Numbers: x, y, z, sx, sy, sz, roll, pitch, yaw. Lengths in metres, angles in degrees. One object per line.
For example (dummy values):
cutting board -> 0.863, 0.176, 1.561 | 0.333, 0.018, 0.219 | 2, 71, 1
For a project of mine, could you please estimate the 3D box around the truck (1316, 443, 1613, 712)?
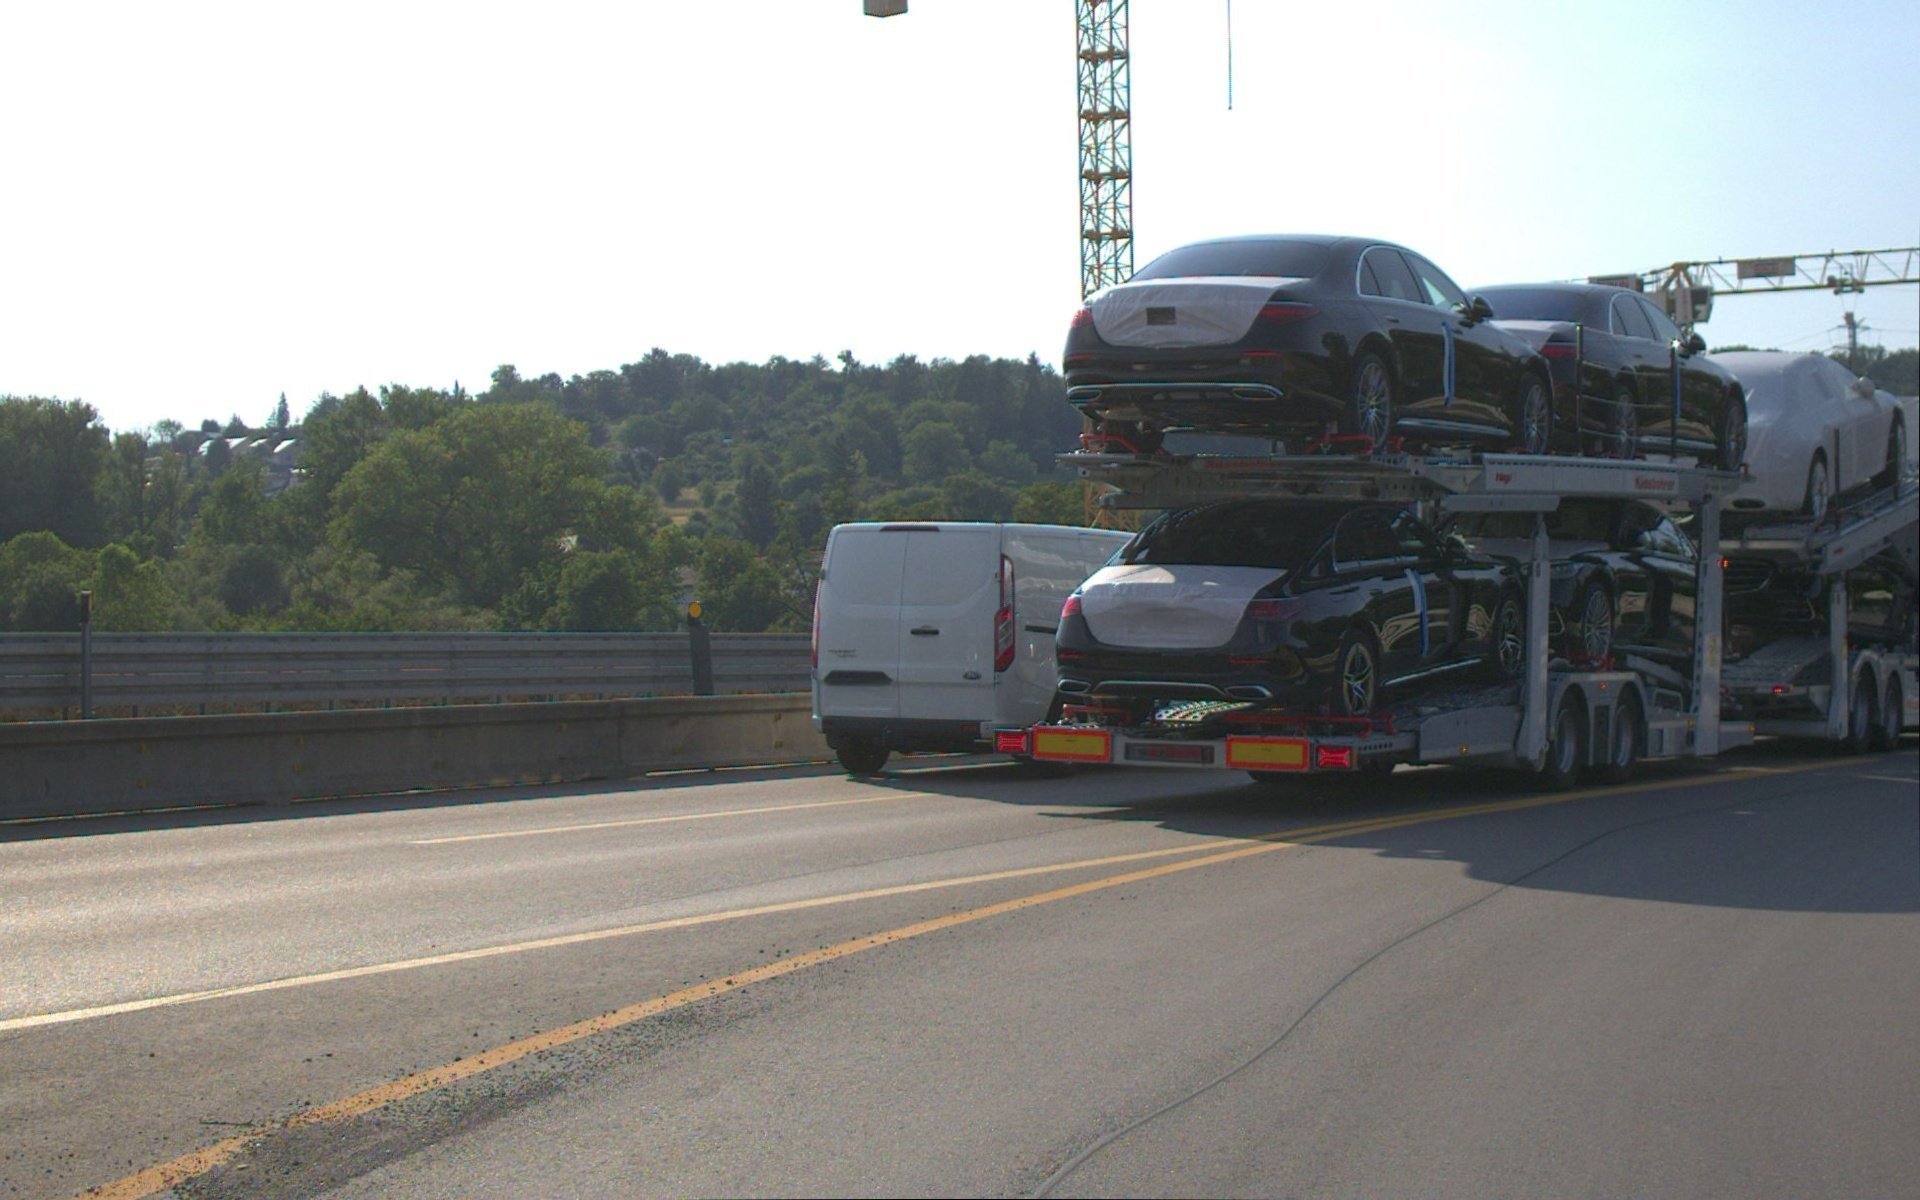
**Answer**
truck -> 8.227, -0.280, 55.490 | 2.631, 4.053, 6.119 | -2, -2, 29

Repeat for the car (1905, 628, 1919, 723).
car -> 19.181, 1.403, 64.814 | 1.832, 1.746, 3.994 | -2, -2, 27

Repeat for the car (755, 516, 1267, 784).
car -> 0.544, 0.382, 28.272 | 2.032, 1.974, 4.971 | 2, 0, 29

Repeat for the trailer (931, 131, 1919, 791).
trailer -> 4.821, -0.706, 28.325 | 2.861, 3.983, 15.720 | -1, -1, 28

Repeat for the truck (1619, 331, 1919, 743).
truck -> 9.471, -0.548, 36.847 | 2.853, 3.983, 6.613 | -1, -1, 29
